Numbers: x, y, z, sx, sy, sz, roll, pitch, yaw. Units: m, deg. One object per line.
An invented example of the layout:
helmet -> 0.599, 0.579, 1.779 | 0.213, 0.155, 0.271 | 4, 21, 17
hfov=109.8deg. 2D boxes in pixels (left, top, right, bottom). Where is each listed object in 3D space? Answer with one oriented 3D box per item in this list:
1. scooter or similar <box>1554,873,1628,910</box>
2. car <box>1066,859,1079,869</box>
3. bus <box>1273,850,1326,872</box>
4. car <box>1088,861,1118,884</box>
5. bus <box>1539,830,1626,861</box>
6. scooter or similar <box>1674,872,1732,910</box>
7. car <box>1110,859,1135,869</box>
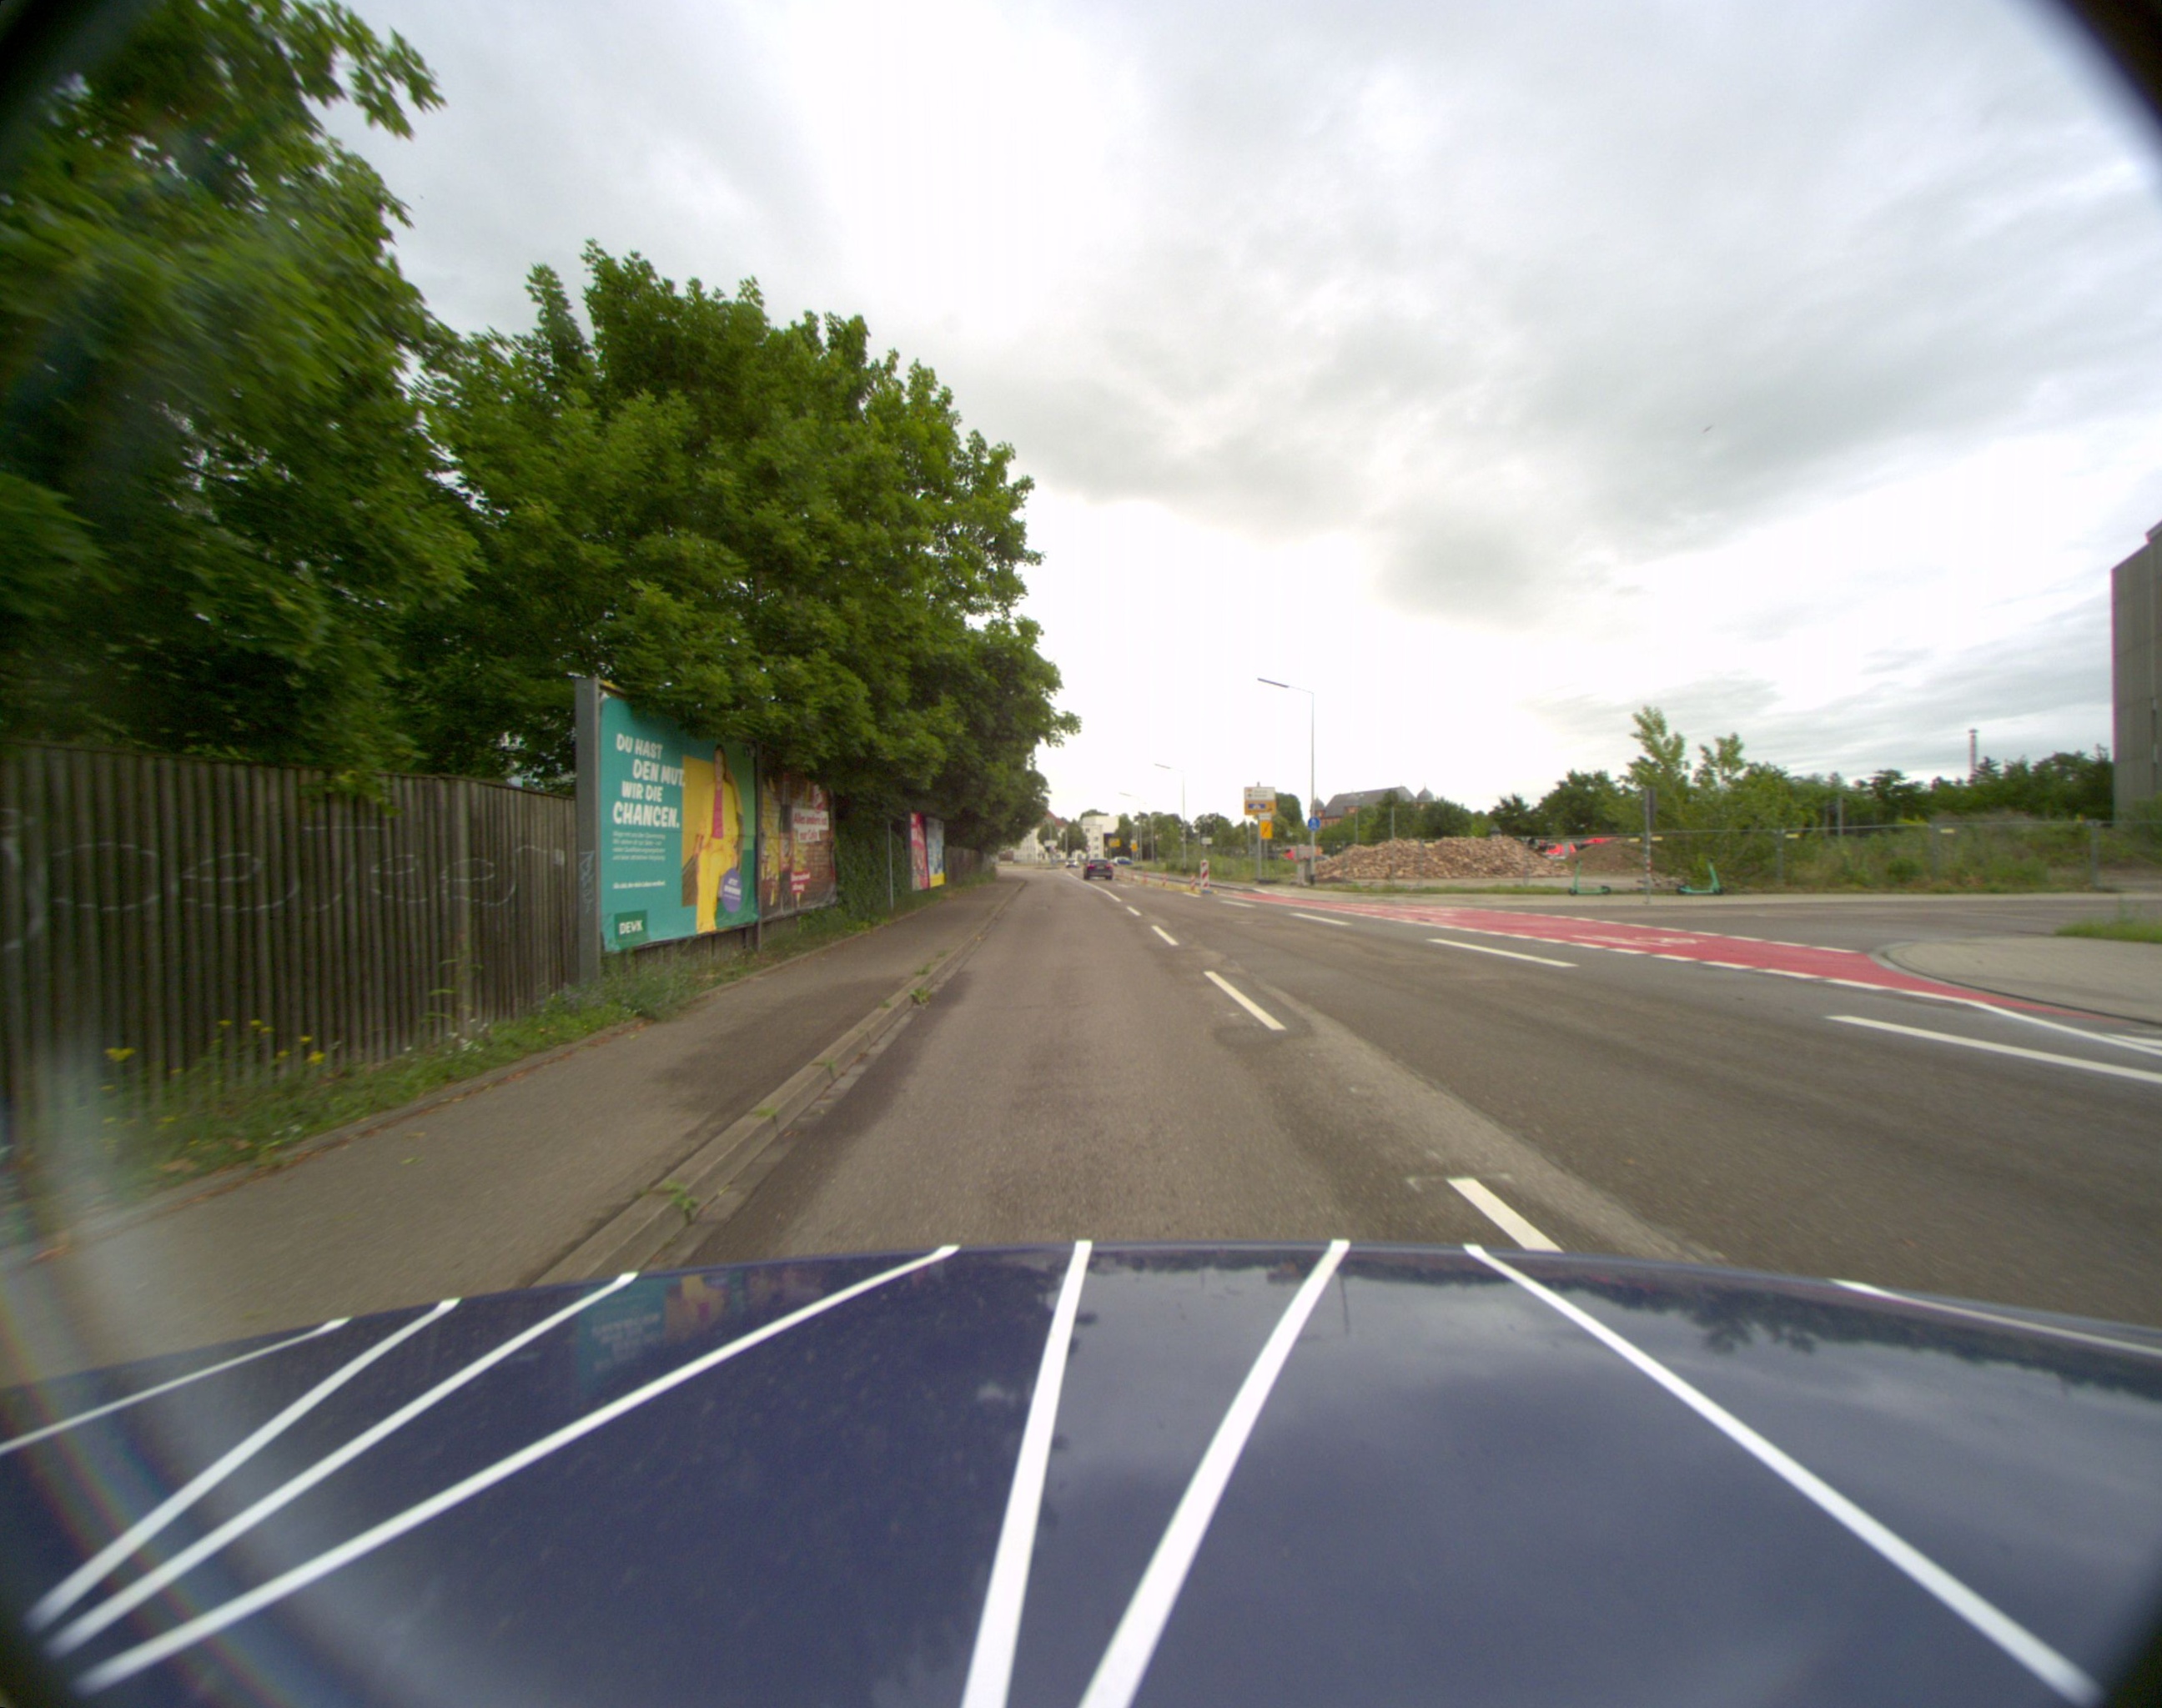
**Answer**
scooter or similar -> 16.530, 1.200, 24.652 | 1.898, 1.135, 0.658 | -2, 0, 43
car -> -1.330, 1.540, 117.907 | 1.756, 1.578, 3.900 | 1, 0, -3
bus -> 37.907, 1.191, 131.762 | 8.375, 3.626, 2.740 | -2, -1, 37
car -> 1.516, 1.317, 54.689 | 1.886, 1.557, 4.358 | -1, -1, -2
bus -> 69.573, -1.087, 105.577 | 9.863, 3.958, 2.740 | -2, -1, 39
scooter or similar -> 19.354, 1.162, 23.672 | 1.335, 1.135, 0.412 | -2, 1, 28
car -> 7.156, 1.648, 129.939 | 3.994, 1.608, 1.861 | -2, 0, 10
